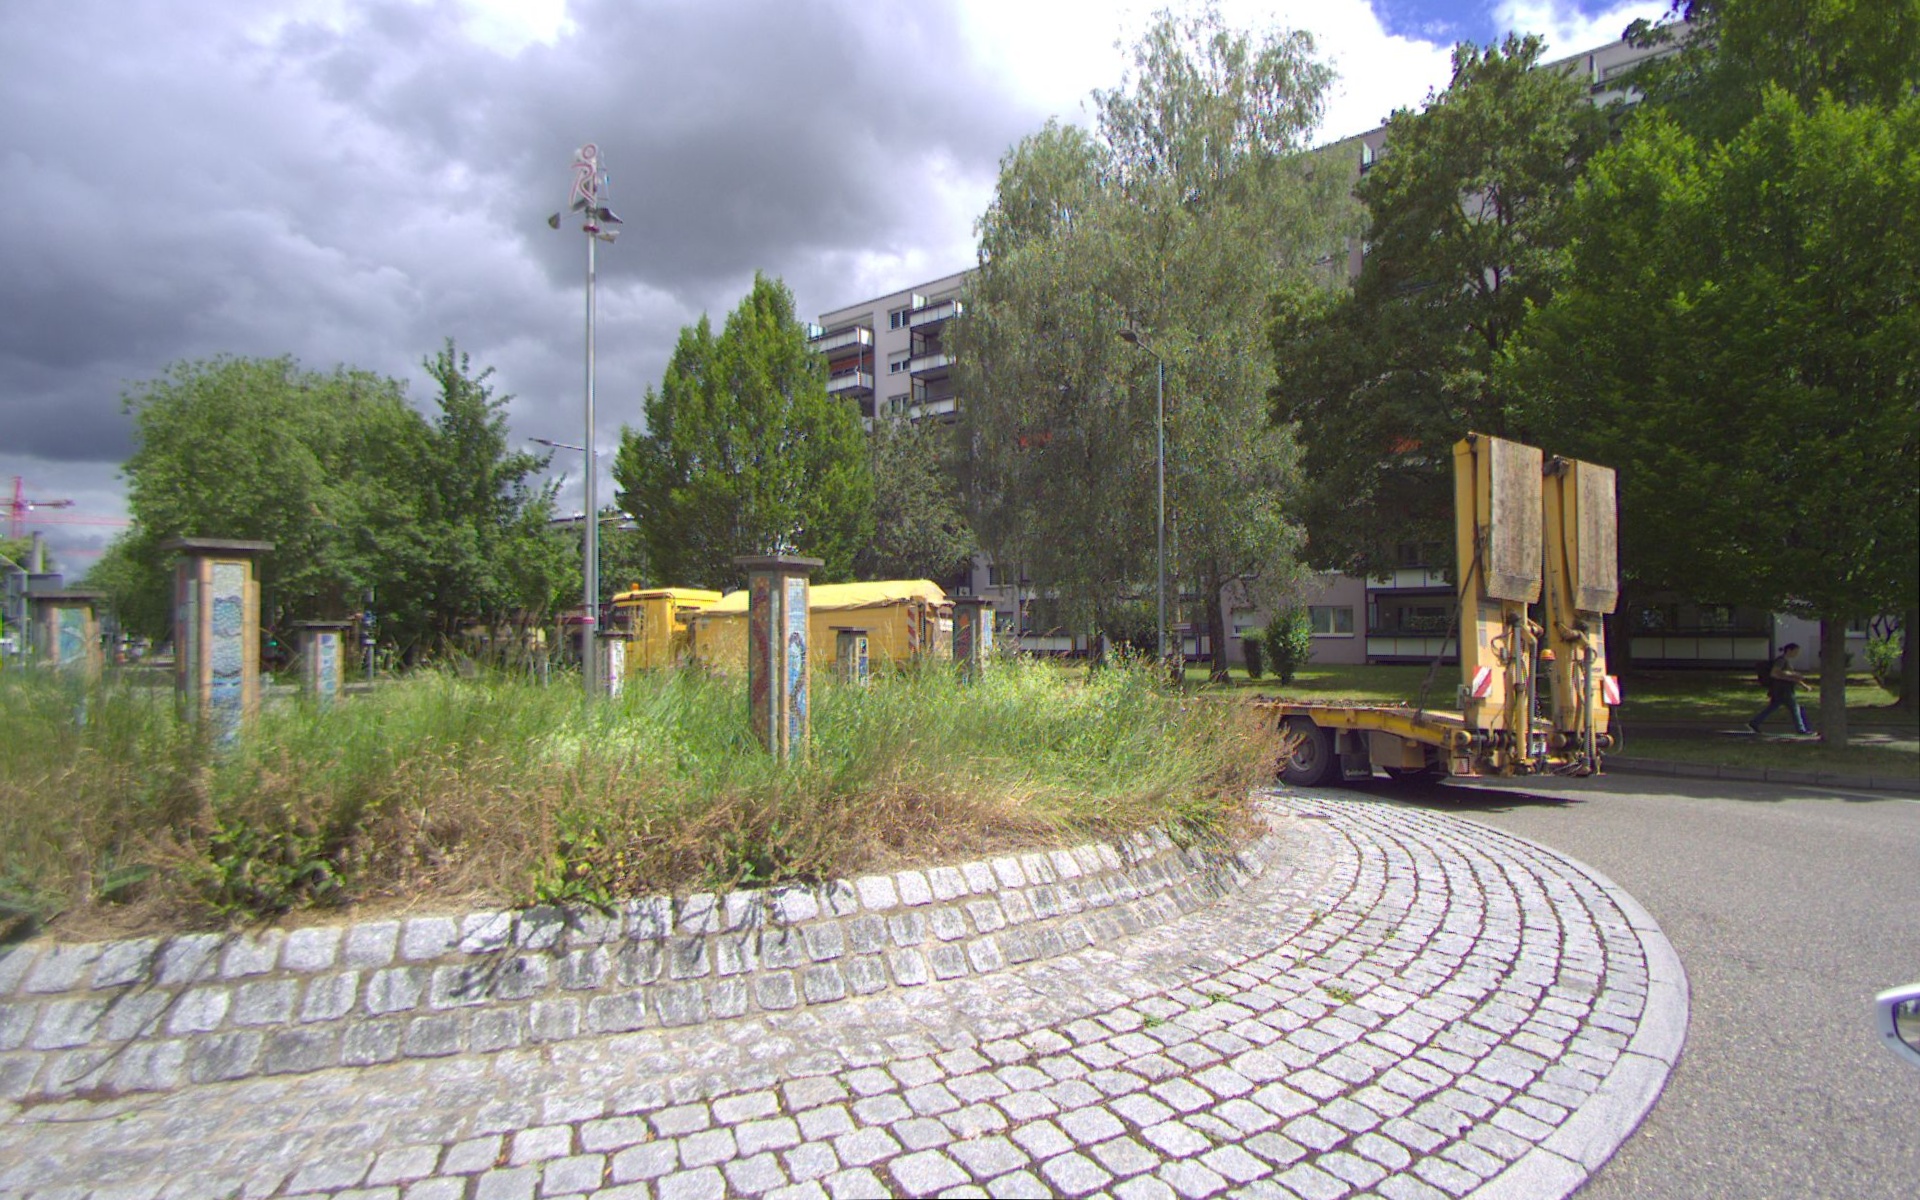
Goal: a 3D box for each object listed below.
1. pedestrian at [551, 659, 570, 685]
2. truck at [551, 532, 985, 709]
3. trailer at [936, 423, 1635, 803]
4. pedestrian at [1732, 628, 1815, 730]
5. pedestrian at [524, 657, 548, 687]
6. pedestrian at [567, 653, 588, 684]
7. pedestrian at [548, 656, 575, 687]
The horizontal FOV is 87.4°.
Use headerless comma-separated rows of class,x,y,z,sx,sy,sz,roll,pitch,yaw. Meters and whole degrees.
pedestrian,-19.170,3.454,48.209,0.713,1.217,0.692,0,-2,-37
truck,-3.917,0.472,20.364,8.320,3.074,2.997,-1,-2,21
trailer,3.264,0.155,14.499,2.836,3.417,10.764,0,0,-27
pedestrian,13.225,1.277,16.365,0.826,1.599,0.720,-5,-4,30
pedestrian,-19.749,3.362,46.786,0.874,1.342,0.603,1,-3,-43
pedestrian,-18.065,3.236,47.489,0.715,1.399,0.690,1,-3,-44
pedestrian,-18.562,3.319,46.789,0.810,1.342,0.876,1,0,39
